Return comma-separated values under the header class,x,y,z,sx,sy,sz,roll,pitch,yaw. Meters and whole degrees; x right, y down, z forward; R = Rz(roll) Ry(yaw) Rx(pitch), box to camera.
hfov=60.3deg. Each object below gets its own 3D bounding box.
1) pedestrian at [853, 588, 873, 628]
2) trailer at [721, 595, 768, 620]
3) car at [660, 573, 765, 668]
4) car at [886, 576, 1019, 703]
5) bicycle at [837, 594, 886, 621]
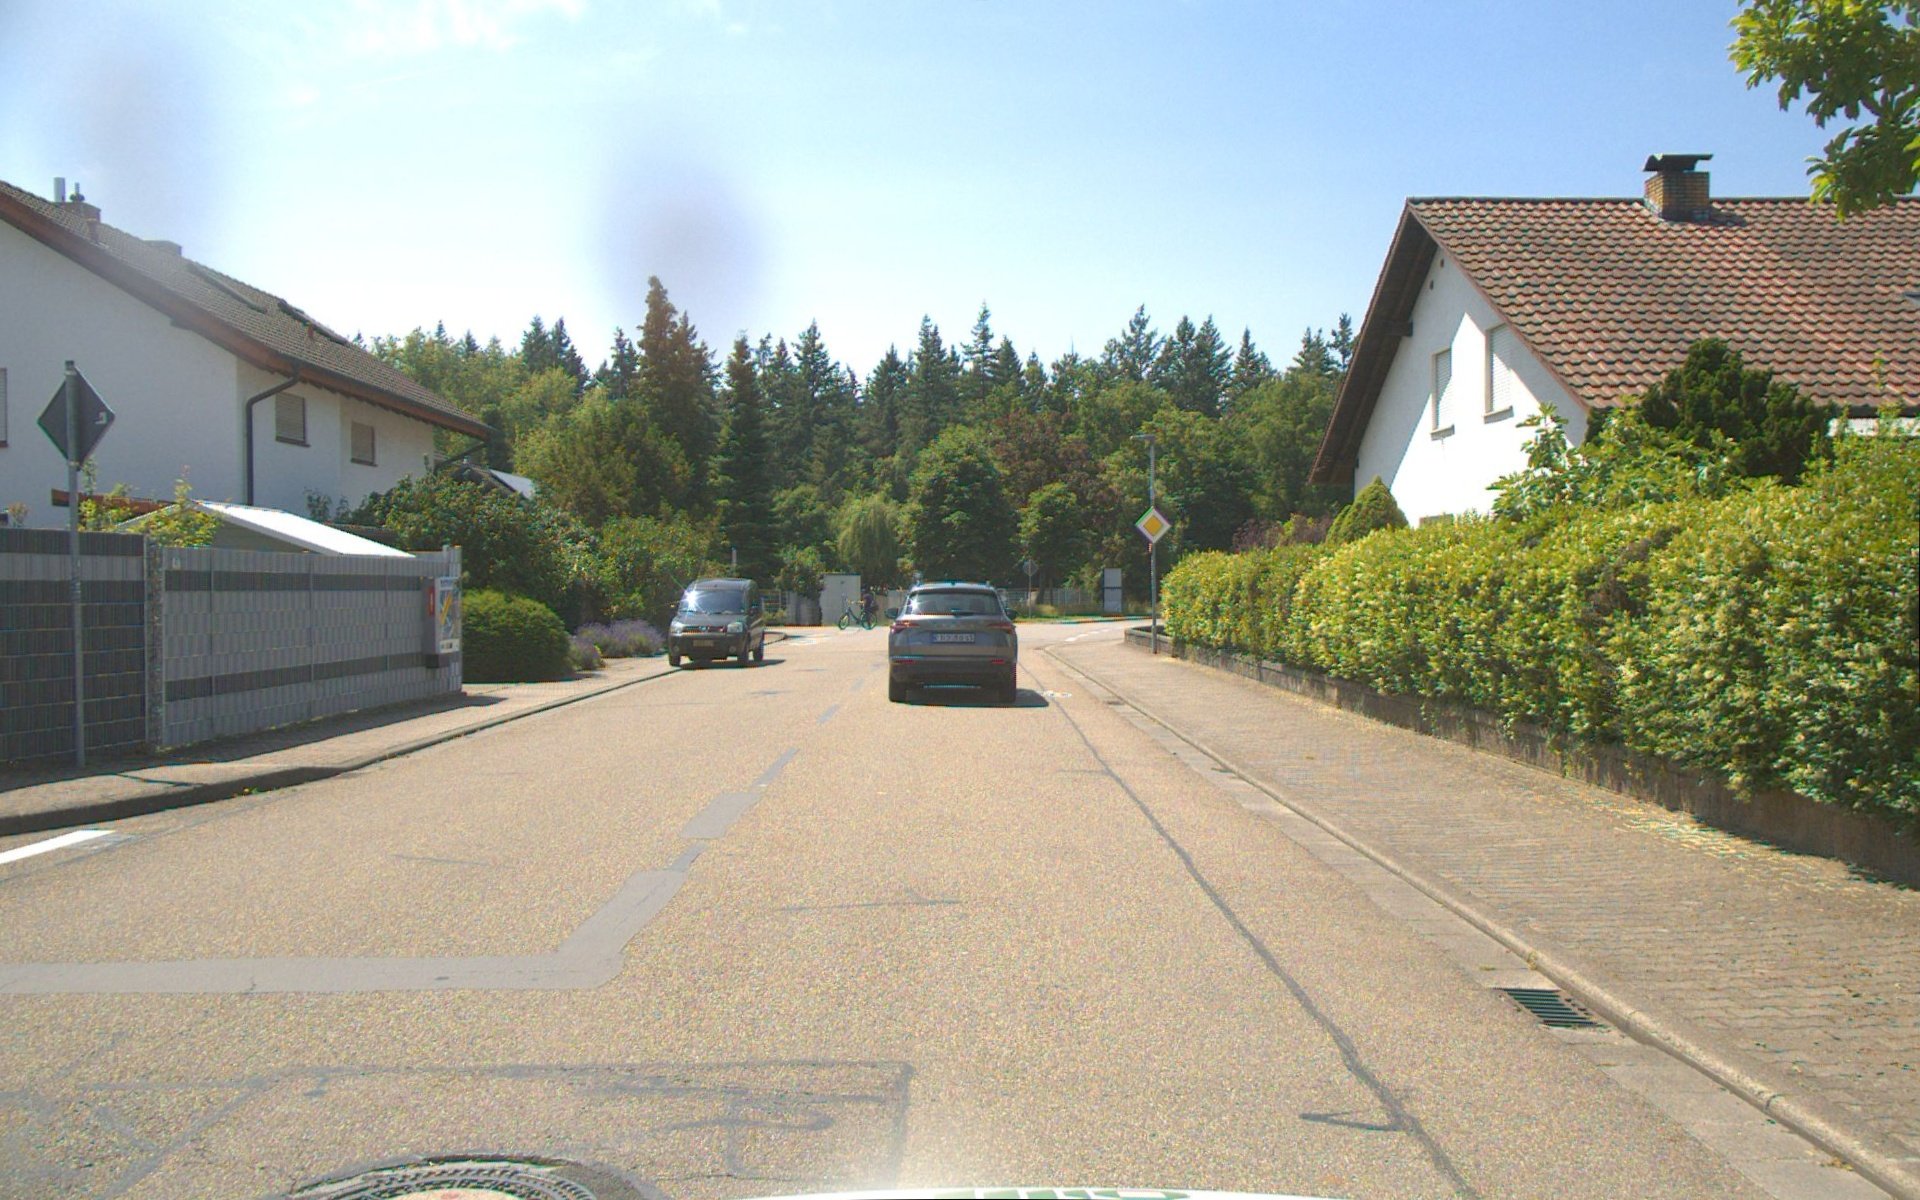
class,x,y,z,sx,sy,sz,roll,pitch,yaw
pedestrian,-3.683,0.301,62.711,0.601,1.527,0.502,-1,0,-19
trailer,-10.159,0.360,77.937,2.173,1.103,1.104,-1,0,-8
car,-5.206,0.389,35.228,1.683,1.878,4.053,-1,0,-1
car,-0.143,0.504,23.605,1.726,1.646,3.999,0,0,-1
bicycle,-3.753,0.297,63.069,1.814,0.980,0.441,-1,0,-19
